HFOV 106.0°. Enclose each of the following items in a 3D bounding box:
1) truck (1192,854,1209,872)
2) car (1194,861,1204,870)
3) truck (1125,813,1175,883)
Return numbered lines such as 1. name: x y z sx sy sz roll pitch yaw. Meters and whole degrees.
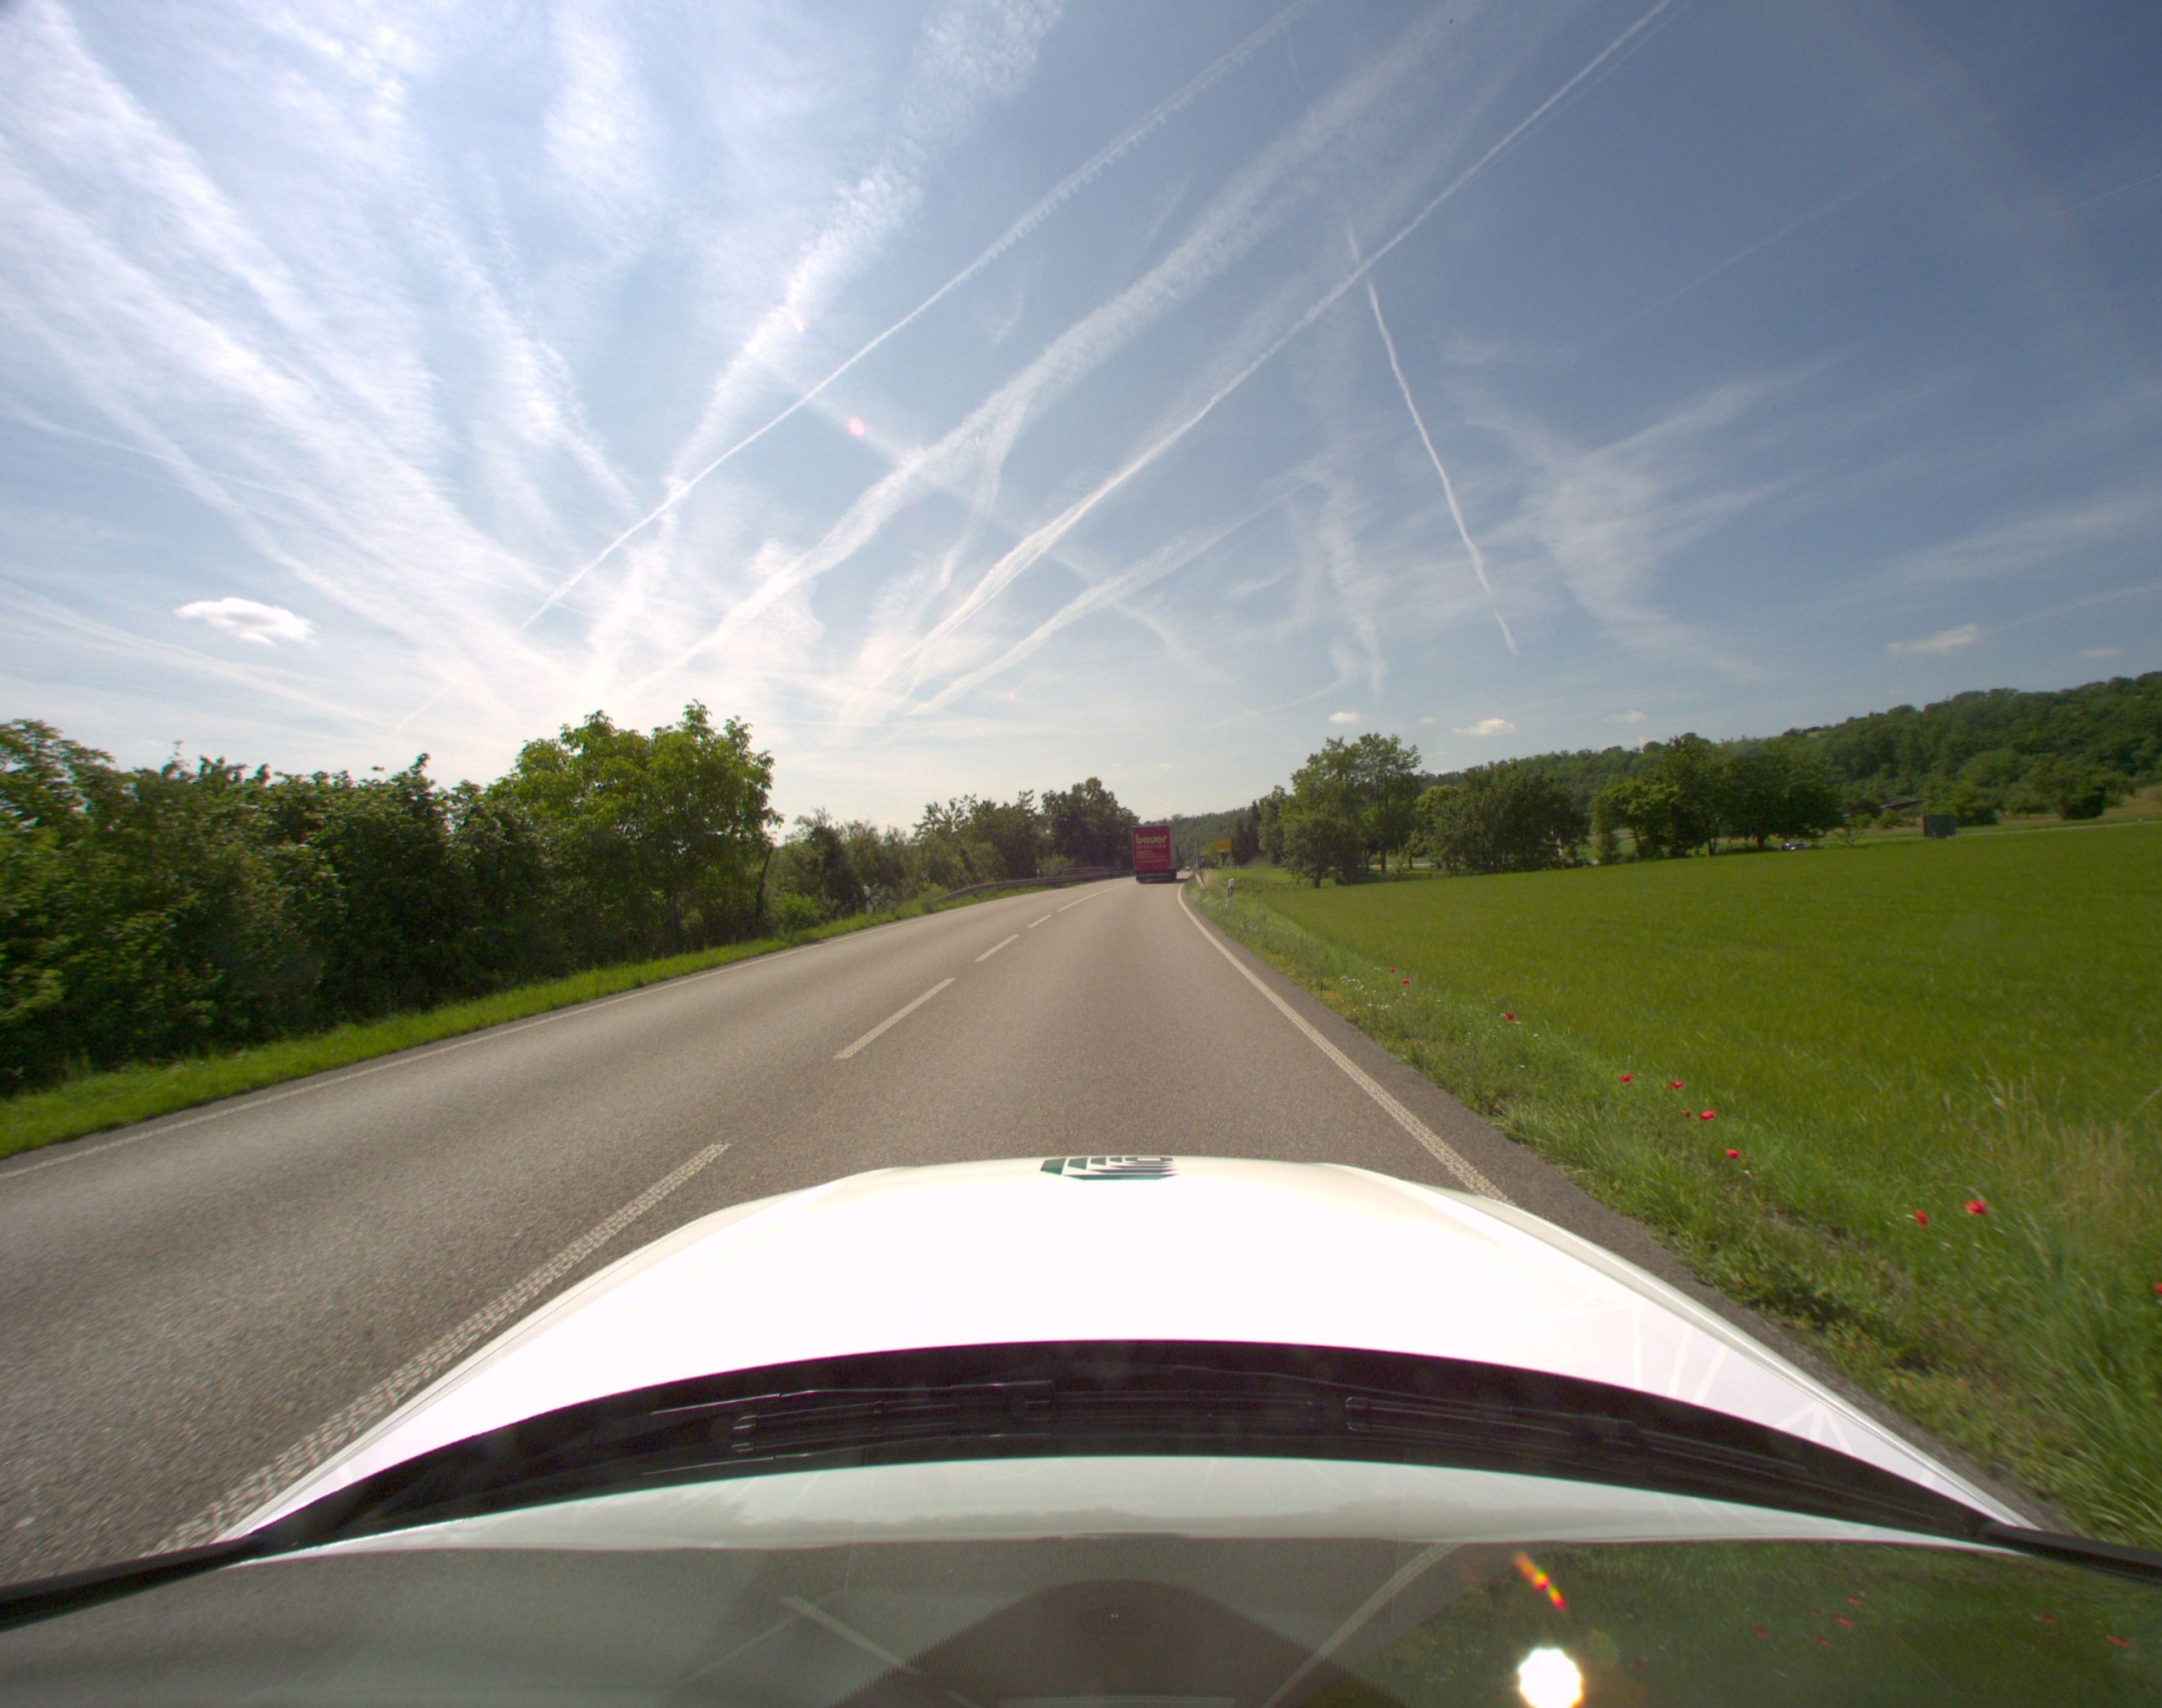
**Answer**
1. truck: 30.149 2.342 205.429 3.881 4.370 13.325 0 -2 10
2. car: 25.423 2.391 174.879 1.981 1.810 4.010 0 -2 10
3. truck: 5.410 -0.316 61.593 3.156 4.625 13.567 -2 -1 6
